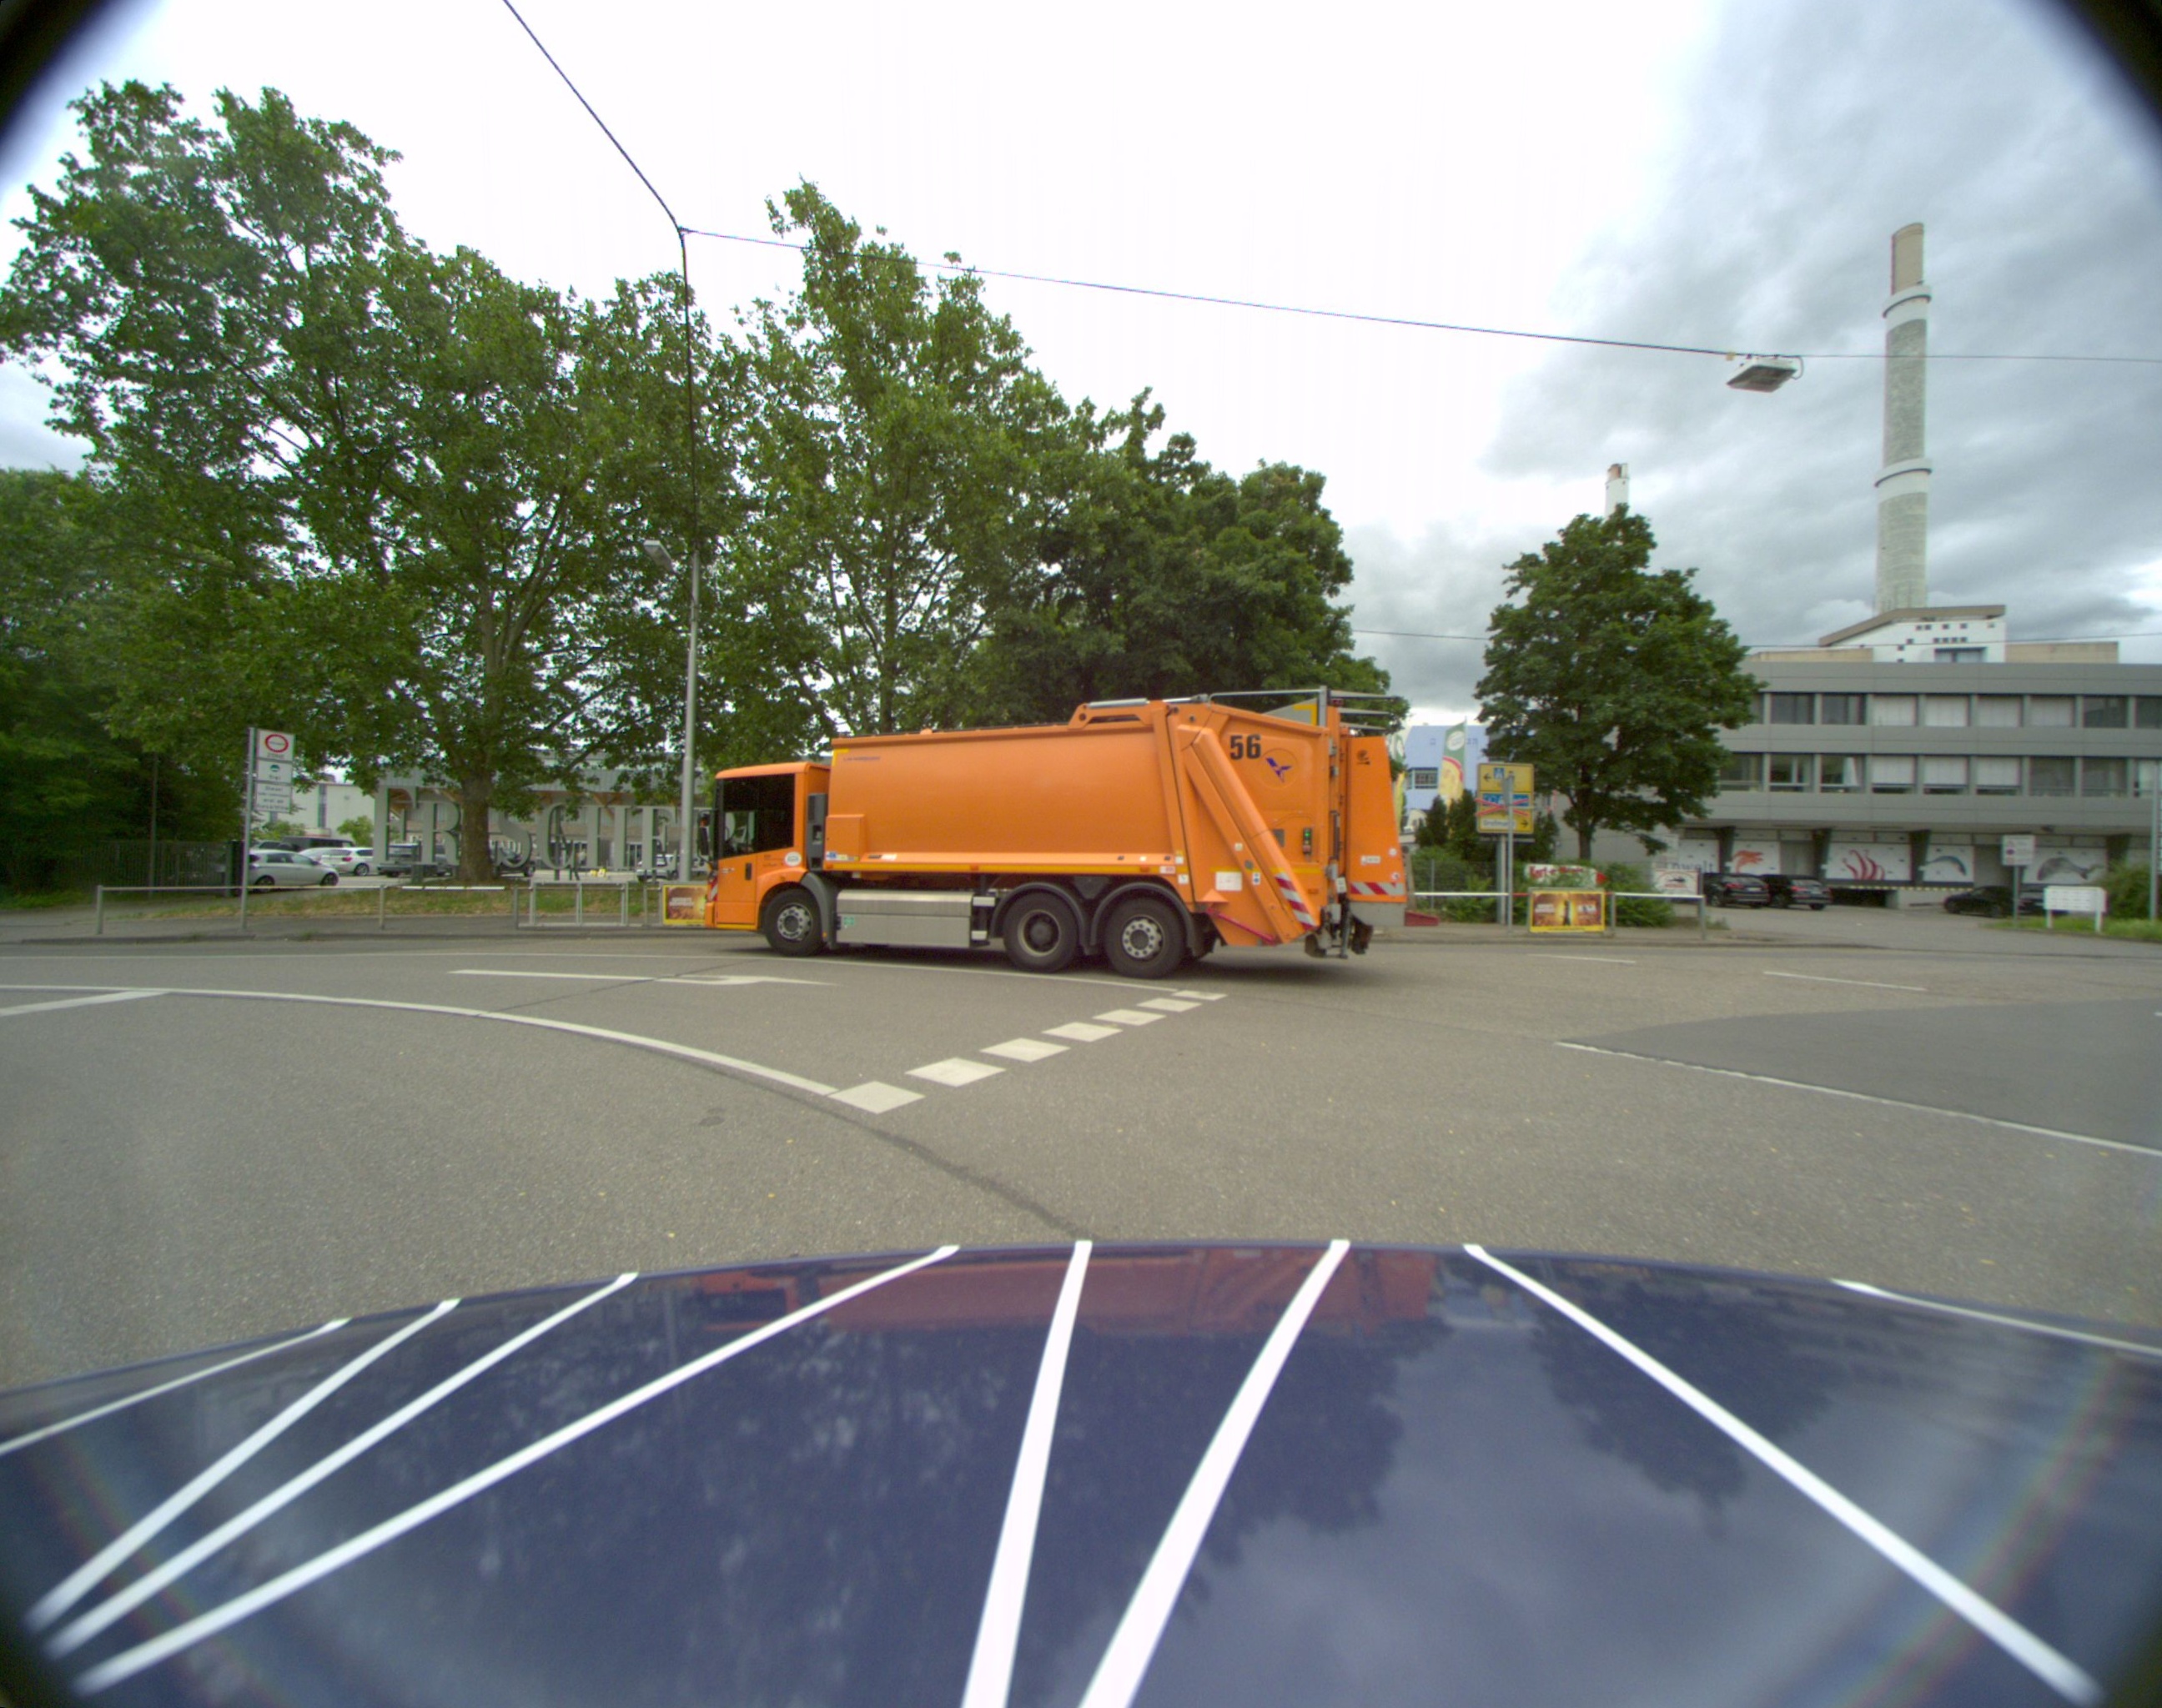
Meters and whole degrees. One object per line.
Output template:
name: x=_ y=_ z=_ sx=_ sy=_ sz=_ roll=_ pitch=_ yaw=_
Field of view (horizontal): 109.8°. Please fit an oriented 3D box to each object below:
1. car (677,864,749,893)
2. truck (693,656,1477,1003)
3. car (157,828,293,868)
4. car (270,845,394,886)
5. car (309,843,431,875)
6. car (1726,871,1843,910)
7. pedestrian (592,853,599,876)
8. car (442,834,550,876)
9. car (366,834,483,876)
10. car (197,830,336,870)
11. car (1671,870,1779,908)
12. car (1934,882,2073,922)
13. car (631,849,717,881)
car: x=-21.481 y=1.403 z=44.605 sx=1.999 sy=1.552 sz=4.641 roll=1 pitch=-1 yaw=-1
truck: x=-0.394 y=-0.175 z=10.795 sx=10.398 sy=3.505 sz=2.802 roll=-1 pitch=-1 yaw=20
car: x=-46.561 y=-0.259 z=41.524 sx=1.999 sy=2.001 sz=4.824 roll=1 pitch=-1 yaw=-1
car: x=-39.711 y=0.626 z=40.477 sx=1.999 sy=2.001 sz=4.641 roll=1 pitch=-1 yaw=-1
car: x=-36.927 y=0.289 z=39.665 sx=1.999 sy=1.549 sz=4.641 roll=1 pitch=-1 yaw=-1
car: x=34.506 y=1.738 z=37.451 sx=1.837 sy=1.608 sz=4.425 roll=2 pitch=0 yaw=5
pedestrian: x=-37.697 y=0.835 z=58.964 sx=0.342 sy=1.754 sz=0.437 roll=2 pitch=-2 yaw=-23
car: x=-30.281 y=0.098 z=39.543 sx=1.999 sy=2.001 sz=4.641 roll=1 pitch=-1 yaw=-1
car: x=-33.646 y=0.108 z=39.164 sx=1.999 sy=2.001 sz=4.641 roll=1 pitch=-1 yaw=-1
car: x=-43.504 y=-0.150 z=40.800 sx=1.999 sy=1.986 sz=5.103 roll=1 pitch=-1 yaw=-1
car: x=31.666 y=1.671 z=37.544 sx=1.836 sy=1.608 sz=4.467 roll=2 pitch=0 yaw=6
car: x=42.417 y=2.134 z=35.130 sx=2.045 sy=1.437 sz=4.836 roll=1 pitch=1 yaw=23
car: x=-21.123 y=0.579 z=39.725 sx=1.999 sy=1.552 sz=4.641 roll=1 pitch=-1 yaw=-1
